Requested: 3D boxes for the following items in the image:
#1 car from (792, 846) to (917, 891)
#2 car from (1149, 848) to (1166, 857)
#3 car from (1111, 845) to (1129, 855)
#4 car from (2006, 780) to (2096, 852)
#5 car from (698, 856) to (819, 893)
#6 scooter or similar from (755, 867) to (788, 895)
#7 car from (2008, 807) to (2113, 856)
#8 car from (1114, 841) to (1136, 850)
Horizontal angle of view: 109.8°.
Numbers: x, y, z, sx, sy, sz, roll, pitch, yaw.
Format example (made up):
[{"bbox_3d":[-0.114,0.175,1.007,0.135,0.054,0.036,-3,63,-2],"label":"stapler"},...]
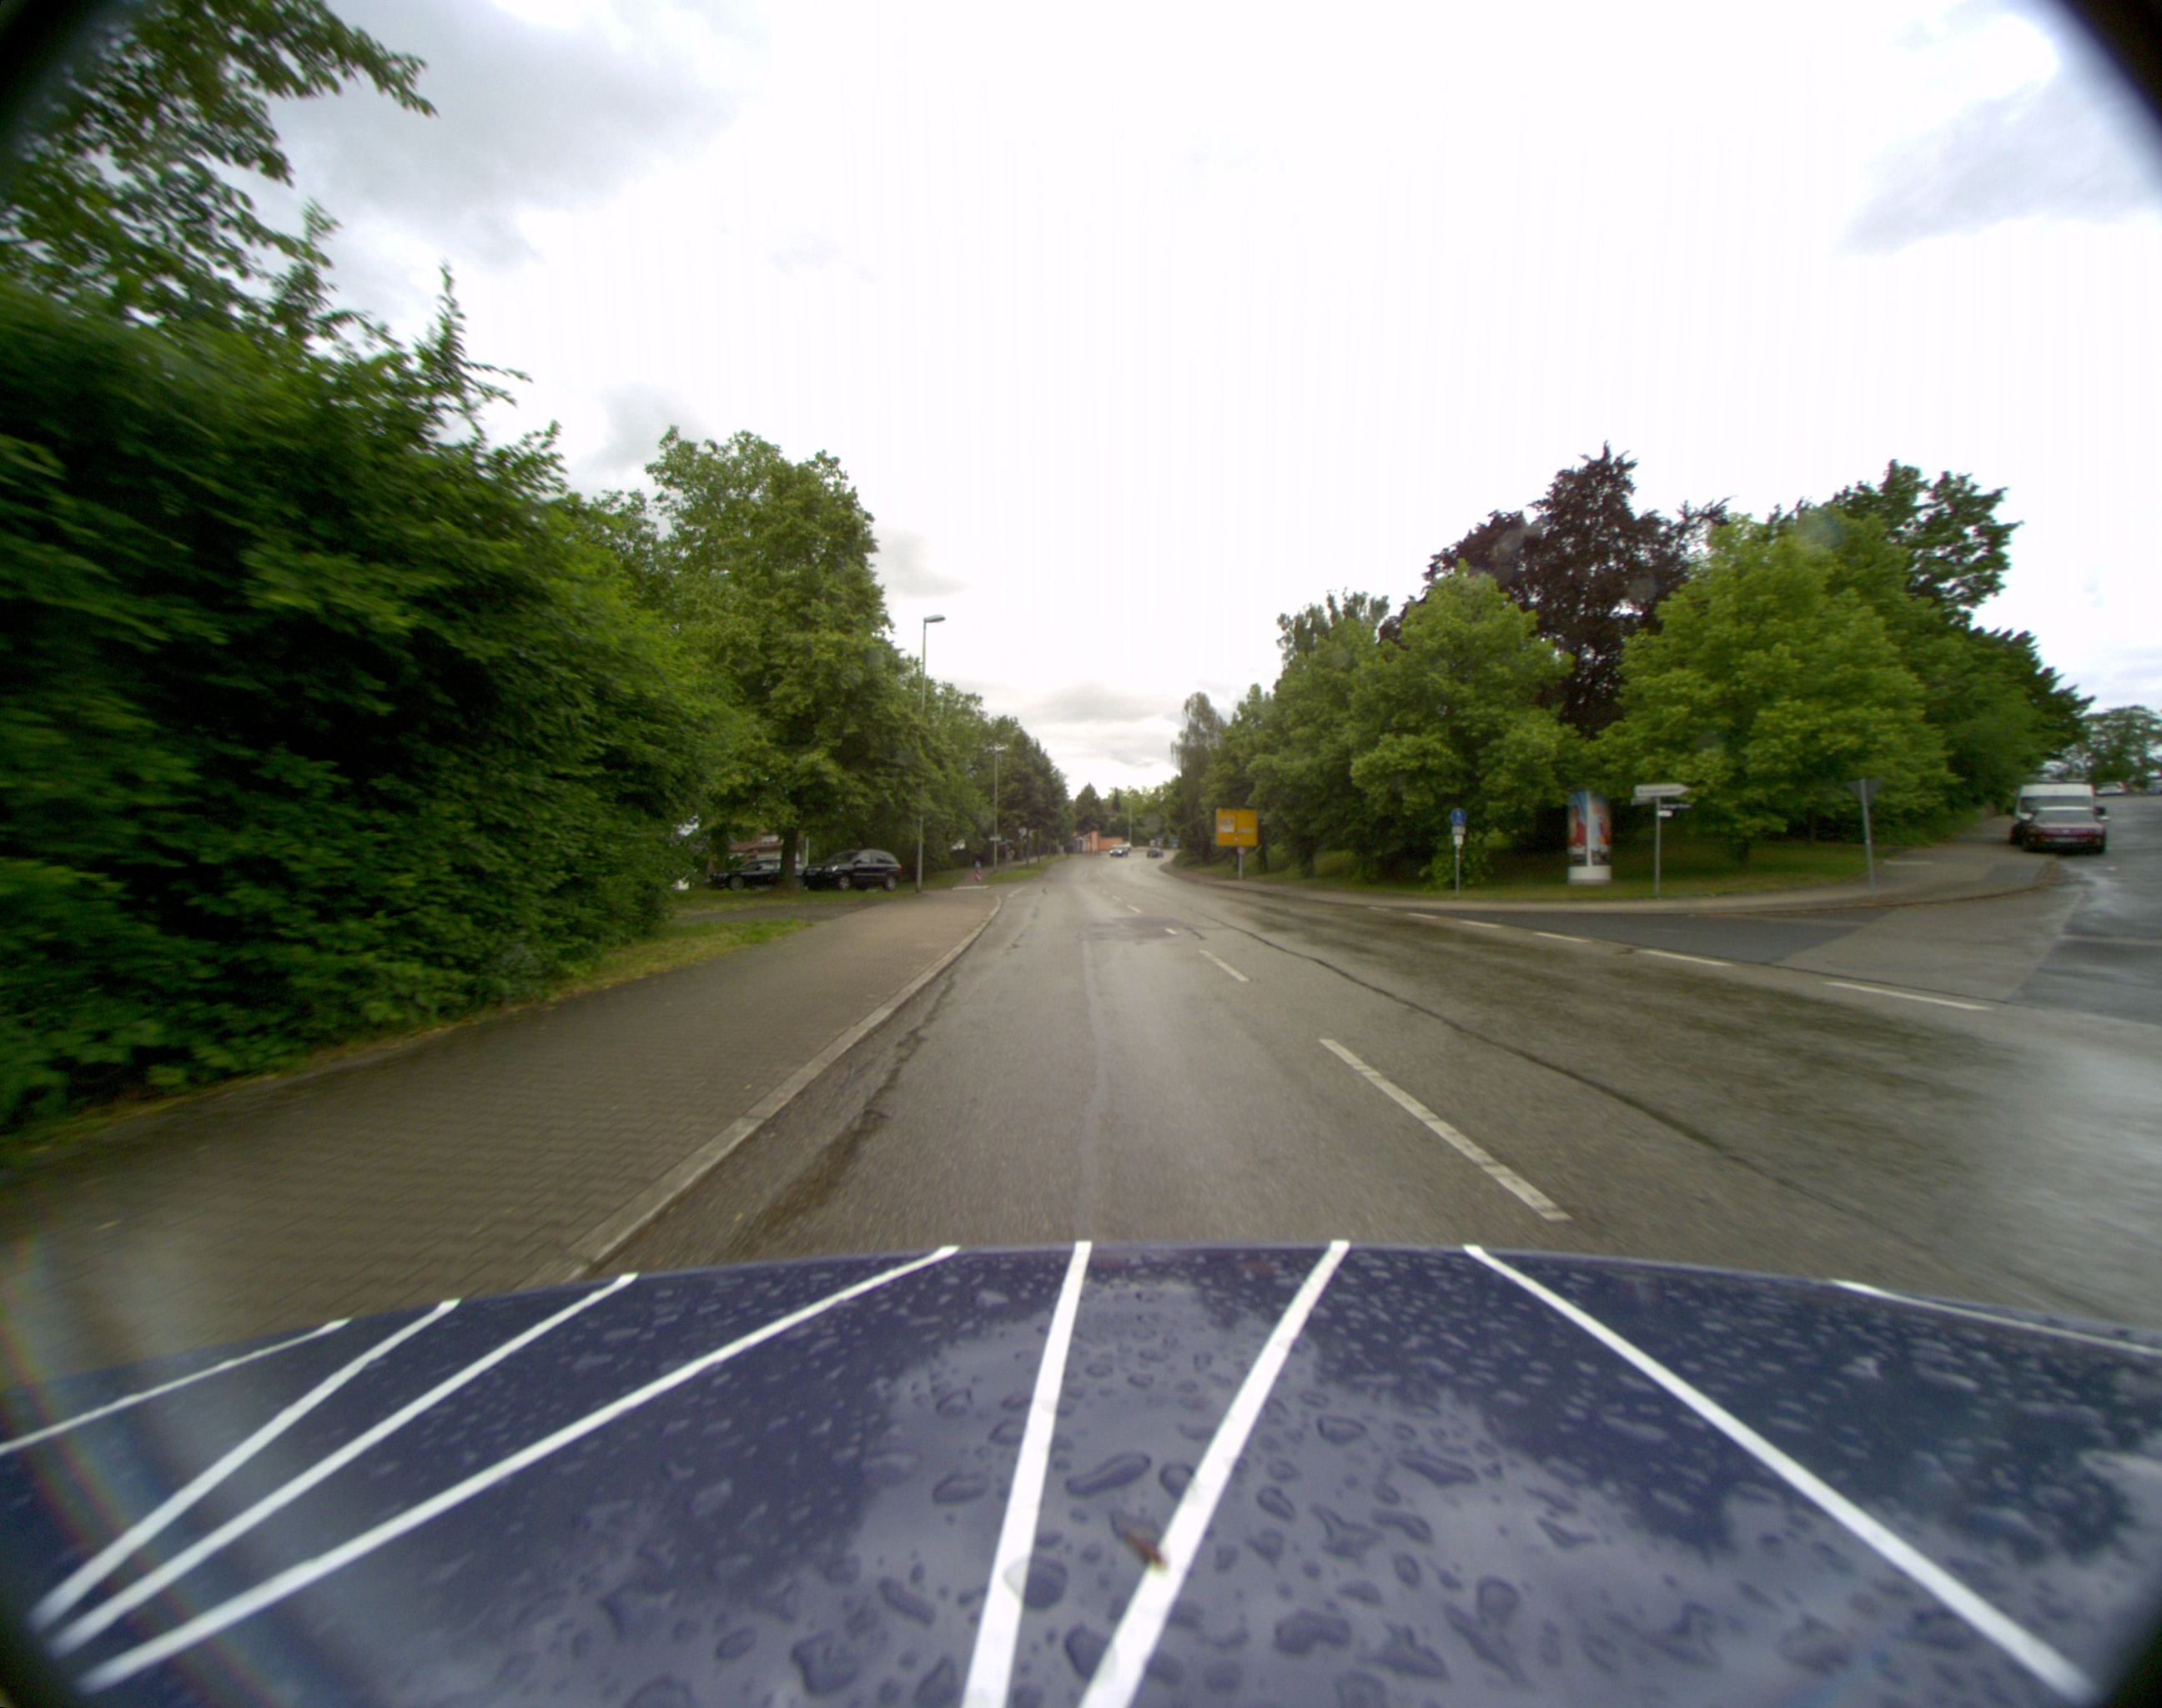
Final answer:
[{"bbox_3d":[-9.037,0.653,30.813,1.949,1.679,4.914,-1,-3,28],"label":"car"},{"bbox_3d":[11.685,-0.247,116.242,1.723,1.375,4.145,2,0,18],"label":"car"},{"bbox_3d":[5.936,-0.589,116.302,1.859,1.406,4.391,0,0,16],"label":"car"},{"bbox_3d":[40.129,-1.503,31.517,5.681,2.684,2.152,-2,0,-39],"label":"car"},{"bbox_3d":[-13.943,0.941,33.089,1.752,1.460,4.577,-2,-3,37],"label":"car"},{"bbox_3d":[-14.598,1.270,35.861,1.339,1.278,0.561,1,1,-6],"label":"scooter or similar"},{"bbox_3d":[35.931,-0.811,27.985,4.008,1.658,1.972,-2,0,-43],"label":"car"},{"bbox_3d":[8.499,-1.657,145.832,3.864,1.557,1.728,2,1,11],"label":"car"}]
